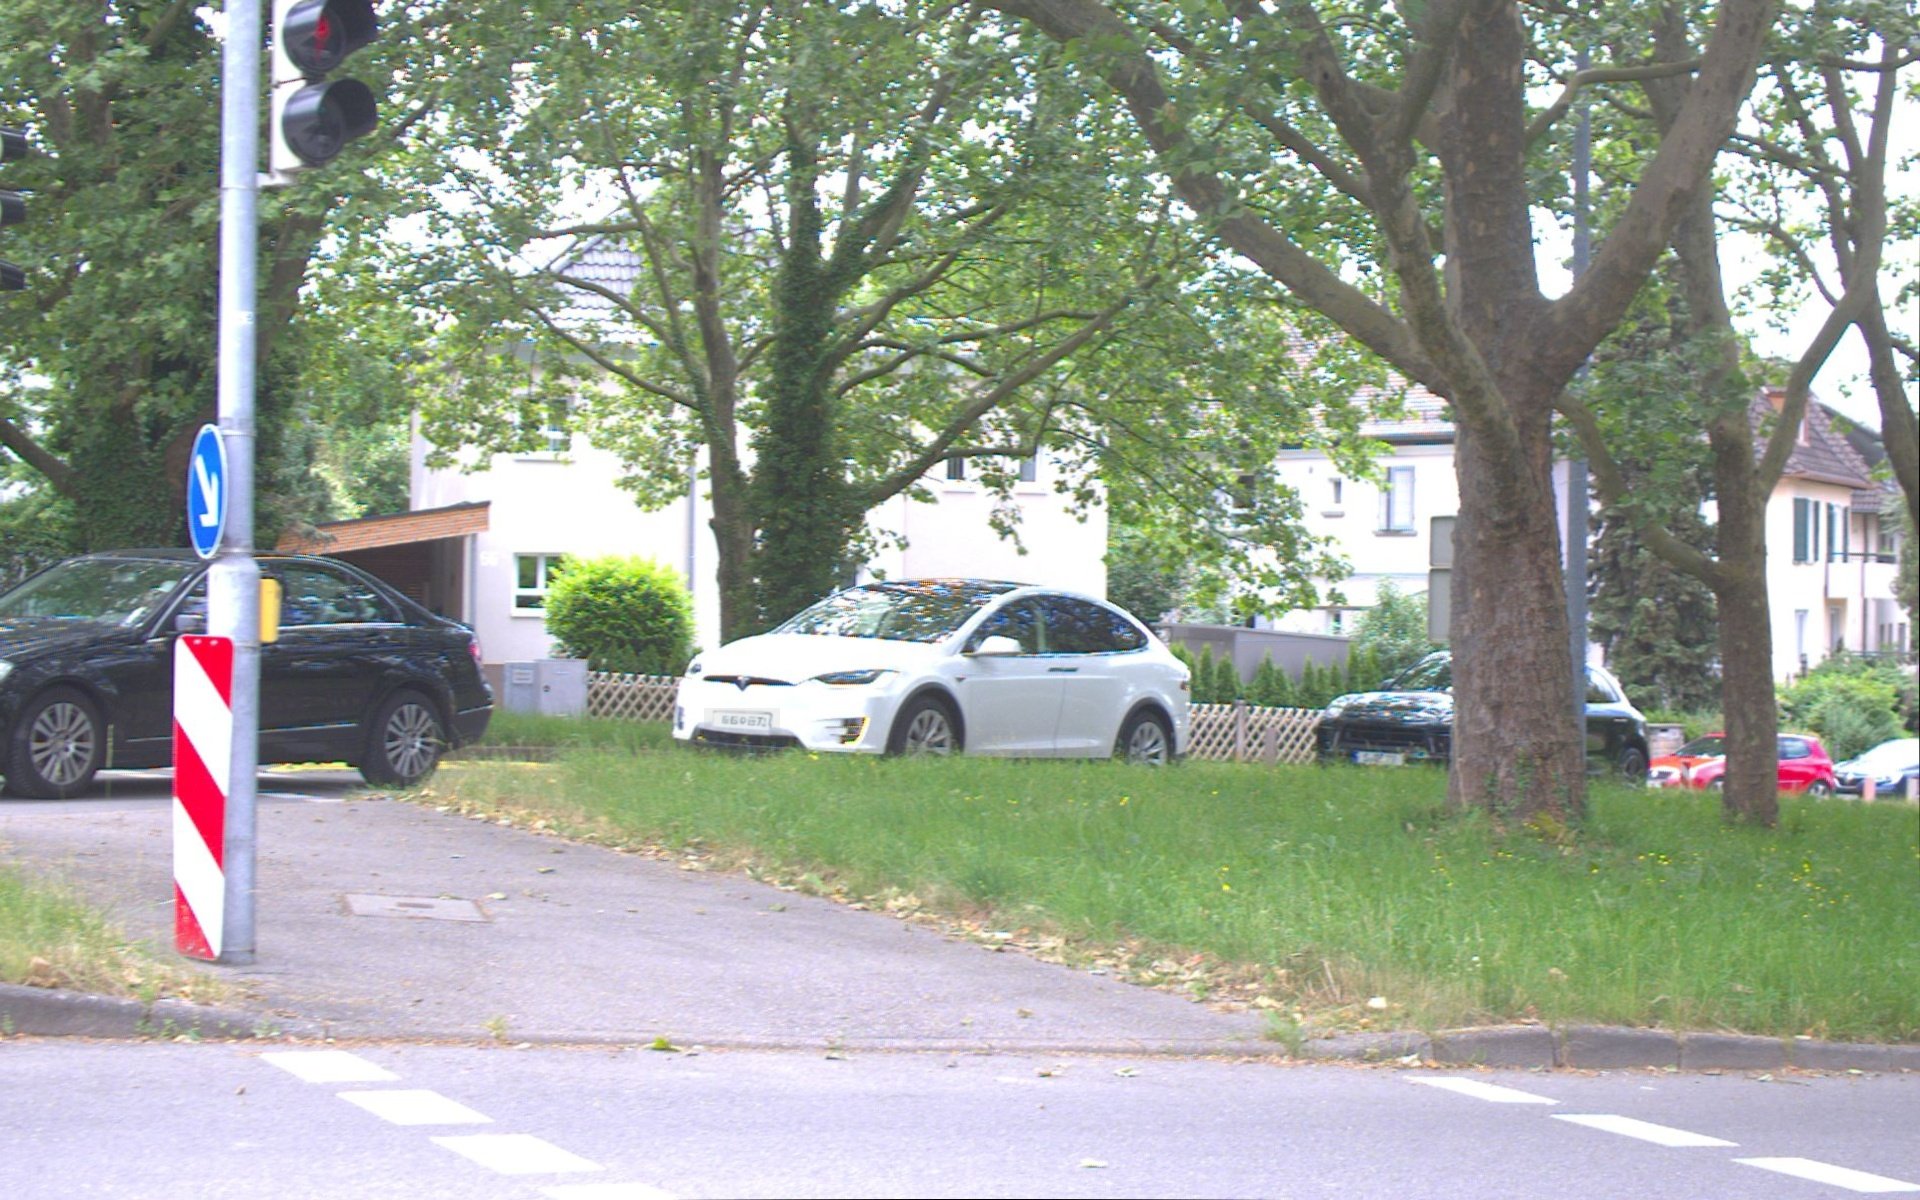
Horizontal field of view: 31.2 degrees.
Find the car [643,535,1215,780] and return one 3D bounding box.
[{"bbox_3d":[-0.116,0.393,26.327,1.855,1.652,4.897,2,1,35],"label":"car"}]

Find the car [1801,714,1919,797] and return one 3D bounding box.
[{"bbox_3d":[18.189,3.000,65.840,4.301,1.469,1.732,3,-1,-39],"label":"car"}]

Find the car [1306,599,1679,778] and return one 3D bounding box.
[{"bbox_3d":[5.336,0.822,33.956,1.760,1.586,4.604,2,1,35],"label":"car"}]

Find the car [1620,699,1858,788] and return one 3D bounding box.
[{"bbox_3d":[14.223,2.627,62.720,4.264,1.469,1.732,3,-1,-34],"label":"car"}]

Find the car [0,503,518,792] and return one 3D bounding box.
[{"bbox_3d":[-4.745,0.295,20.002,1.760,1.512,4.377,2,-1,35],"label":"car"}]
